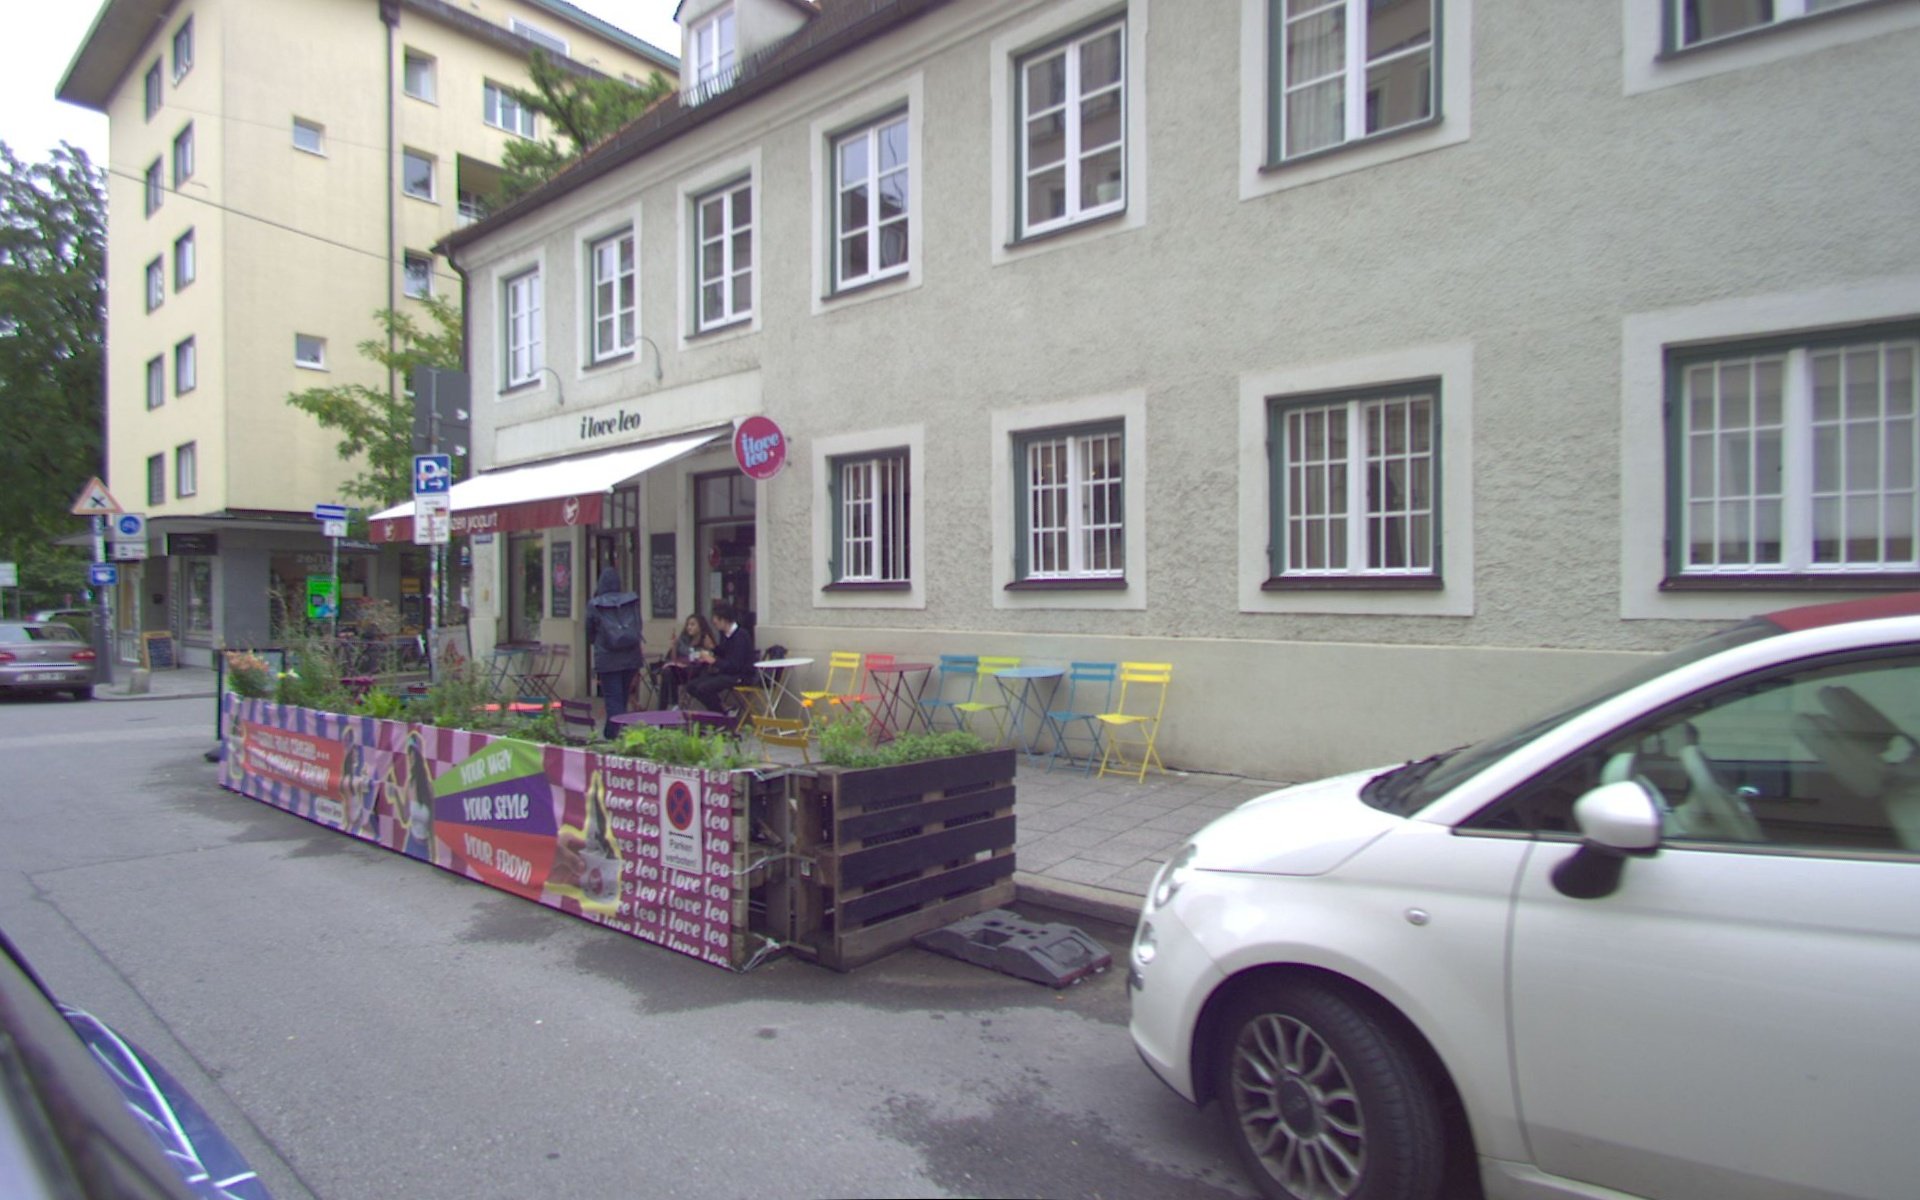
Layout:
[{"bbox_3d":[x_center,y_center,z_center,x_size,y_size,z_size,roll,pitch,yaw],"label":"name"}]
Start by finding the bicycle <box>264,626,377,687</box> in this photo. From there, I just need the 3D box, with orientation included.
[{"bbox_3d":[-12.552,1.089,19.905,0.392,1.042,1.798,-2,0,43],"label":"bicycle"}]

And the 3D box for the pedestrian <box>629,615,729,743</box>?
[{"bbox_3d":[-3.059,0.826,11.017,0.693,1.299,0.795,0,0,40],"label":"pedestrian"}]

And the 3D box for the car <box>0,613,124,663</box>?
[{"bbox_3d":[-39.692,1.610,44.315,1.925,2.016,4.383,0,0,25],"label":"car"}]

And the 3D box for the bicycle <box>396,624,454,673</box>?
[{"bbox_3d":[-11.496,1.017,21.719,1.713,0.973,0.376,0,2,37],"label":"bicycle"}]

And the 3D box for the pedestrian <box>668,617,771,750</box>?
[{"bbox_3d":[-2.503,0.837,10.554,0.693,1.300,0.795,0,0,40],"label":"pedestrian"}]

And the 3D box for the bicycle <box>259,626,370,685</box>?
[{"bbox_3d":[-12.847,1.086,20.181,0.392,1.042,1.798,-2,0,43],"label":"bicycle"}]

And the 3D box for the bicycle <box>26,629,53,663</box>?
[{"bbox_3d":[-33.960,1.681,37.321,1.854,1.219,0.555,-1,0,43],"label":"bicycle"}]

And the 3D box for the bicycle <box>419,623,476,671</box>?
[{"bbox_3d":[-11.205,1.015,22.114,1.713,0.973,0.376,0,2,37],"label":"bicycle"}]

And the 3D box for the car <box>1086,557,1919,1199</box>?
[{"bbox_3d":[2.322,0.652,2.130,3.708,1.486,1.738,-1,0,37],"label":"car"}]

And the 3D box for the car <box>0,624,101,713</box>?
[{"bbox_3d":[-17.666,1.203,18.765,4.943,1.482,1.663,-1,-2,38],"label":"car"}]

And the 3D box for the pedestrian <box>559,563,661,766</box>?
[{"bbox_3d":[-3.275,0.567,9.452,0.877,1.795,0.523,0,0,41],"label":"pedestrian"}]

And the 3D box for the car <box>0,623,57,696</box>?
[{"bbox_3d":[-21.075,1.261,22.005,4.095,1.482,1.661,-2,-2,41],"label":"car"}]

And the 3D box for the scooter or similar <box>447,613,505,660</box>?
[{"bbox_3d":[-12.930,0.969,27.067,0.985,1.210,1.204,0,0,-1],"label":"scooter or similar"}]

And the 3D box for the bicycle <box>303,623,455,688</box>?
[{"bbox_3d":[-12.968,1.203,22.682,0.817,1.220,2.812,0,2,42],"label":"bicycle"}]
